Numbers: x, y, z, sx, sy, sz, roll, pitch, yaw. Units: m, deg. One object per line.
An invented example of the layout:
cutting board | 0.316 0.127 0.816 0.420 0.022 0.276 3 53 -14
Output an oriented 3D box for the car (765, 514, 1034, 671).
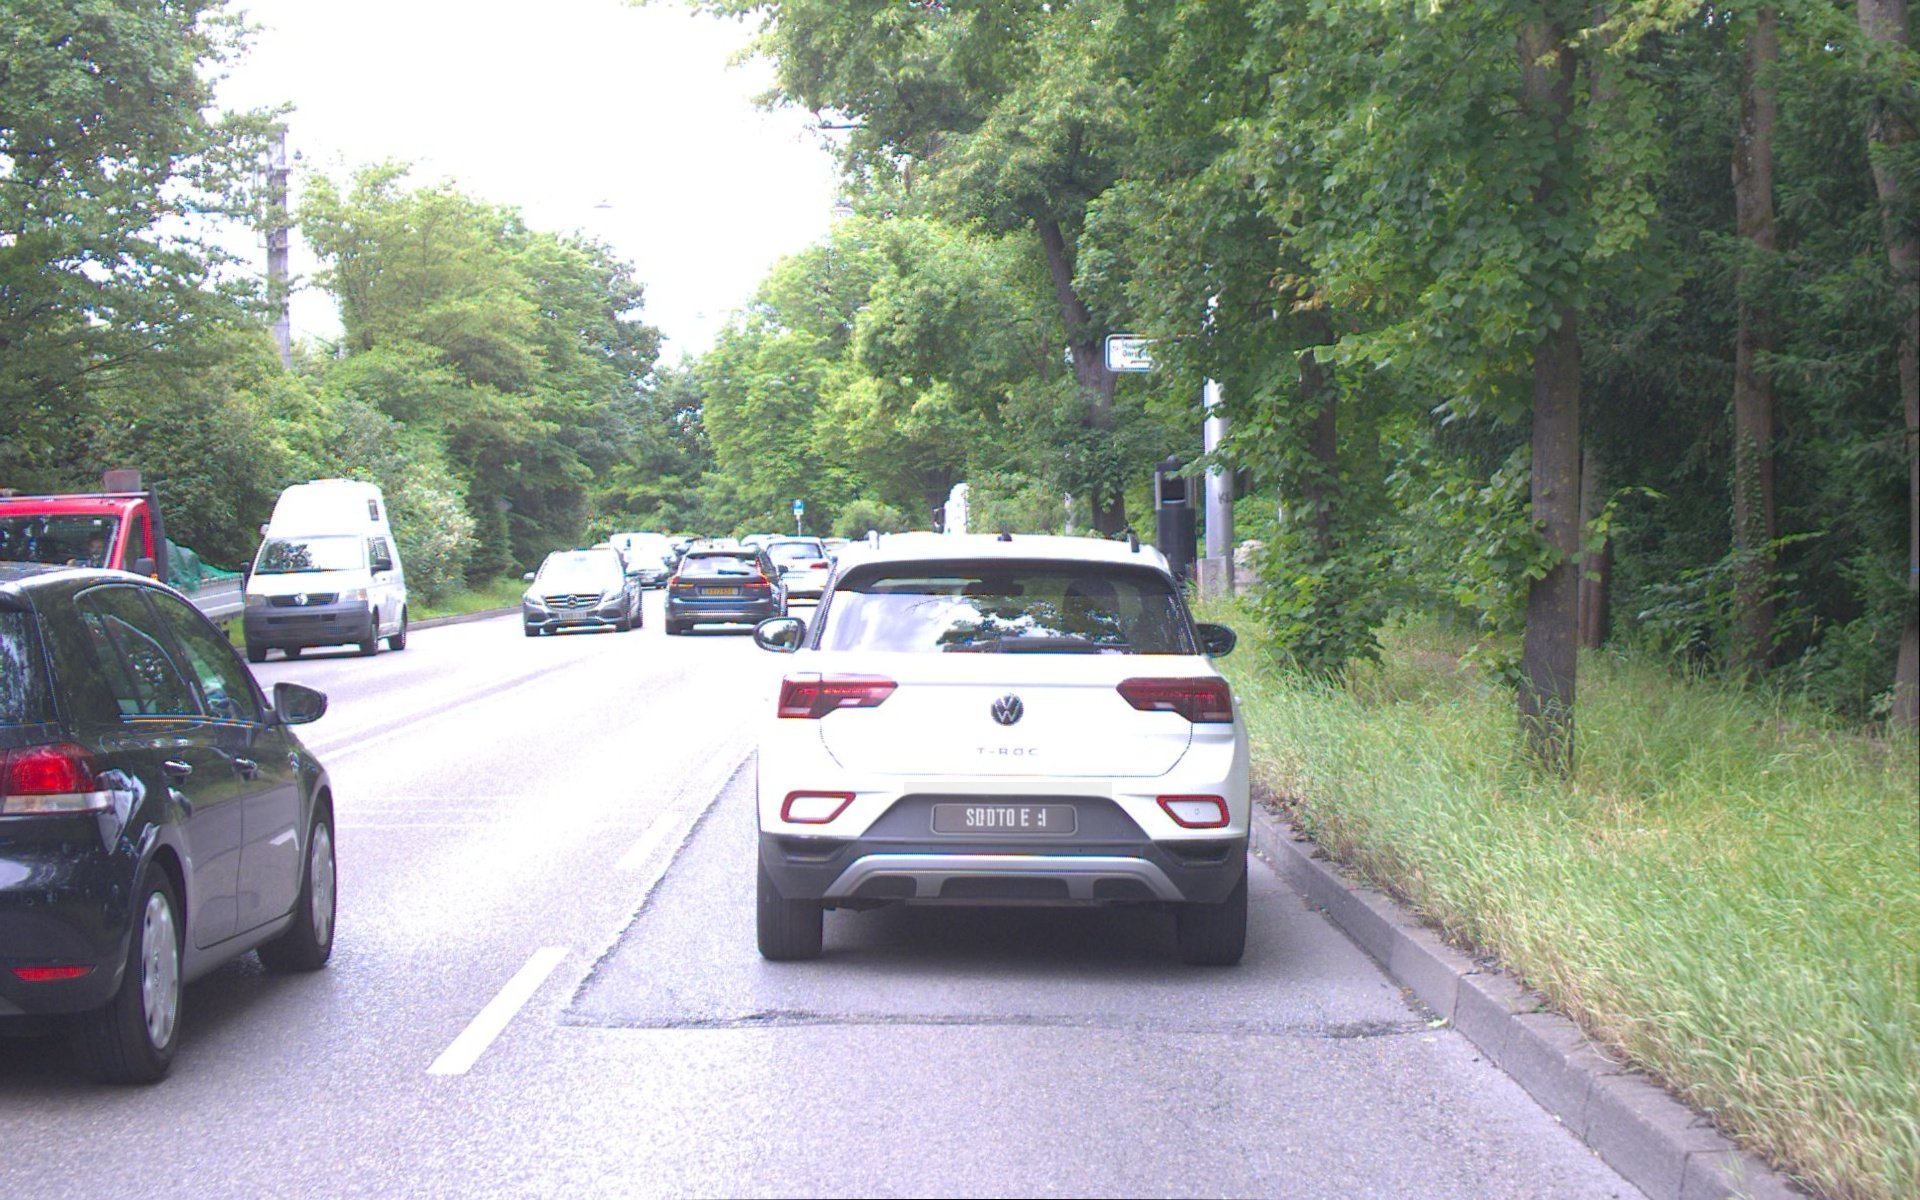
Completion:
car | -0.786 -0.126 41.463 1.851 1.697 4.001 -4 2 -22

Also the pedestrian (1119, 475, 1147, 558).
pedestrian | 3.691 -1.781 73.376 0.519 1.747 0.525 0 0 -4

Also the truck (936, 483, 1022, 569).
truck | 0.691 -2.771 131.197 2.481 3.171 7.230 0 1 -6

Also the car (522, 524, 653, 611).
car | -6.474 -0.571 60.162 1.839 1.460 4.466 0 1 -1

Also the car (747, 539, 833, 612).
car | -3.877 -0.577 78.880 1.821 1.617 4.000 0 1 -1

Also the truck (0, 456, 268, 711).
truck | -9.191 -0.169 36.466 2.177 2.403 6.465 -3 1 1

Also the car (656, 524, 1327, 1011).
car | -0.057 0.531 13.364 2.000 1.590 4.001 0 1 -8

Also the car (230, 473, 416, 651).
car | -9.542 -0.568 51.851 1.887 2.547 4.915 0 1 0

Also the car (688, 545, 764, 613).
car | -6.756 -0.590 99.612 1.810 1.656 4.829 -2 -3 0

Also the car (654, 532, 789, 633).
car | -3.897 -0.304 56.753 1.993 1.586 4.000 0 1 -1

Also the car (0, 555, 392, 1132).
car | -3.060 0.590 10.716 1.949 1.461 4.000 0 1 -1

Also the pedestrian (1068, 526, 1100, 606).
pedestrian | 2.639 -0.731 73.046 0.608 1.692 0.549 0 0 -4
